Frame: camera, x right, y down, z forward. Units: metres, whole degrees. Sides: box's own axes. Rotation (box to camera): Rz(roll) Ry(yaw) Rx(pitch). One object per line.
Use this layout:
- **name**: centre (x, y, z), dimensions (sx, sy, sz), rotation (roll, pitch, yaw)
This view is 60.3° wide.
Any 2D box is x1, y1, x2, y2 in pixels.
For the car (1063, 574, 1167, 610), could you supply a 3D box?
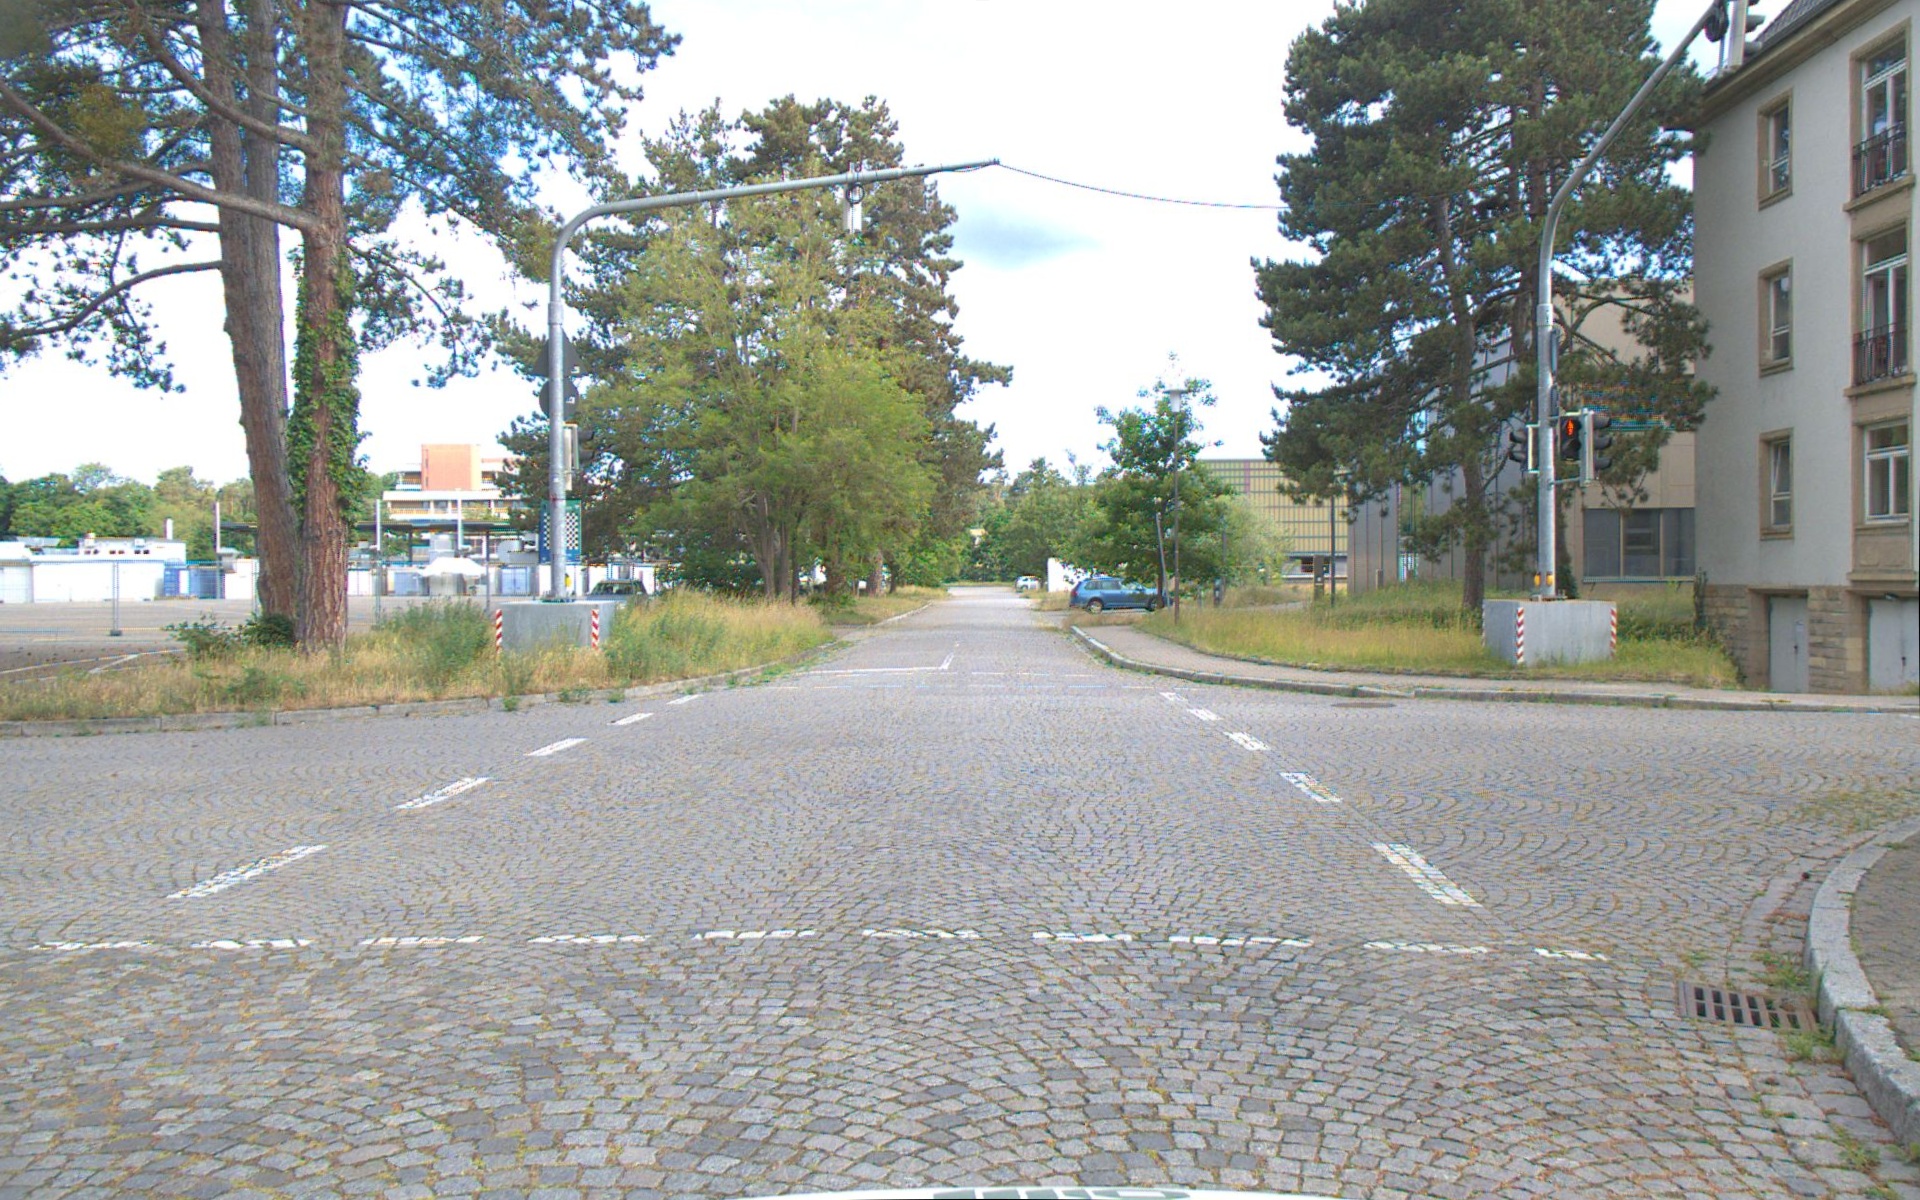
- **car**: centre (6.597, -0.354, 70.750), dimensions (4.256, 1.447, 2.000), rotation (-1, 1, -1)

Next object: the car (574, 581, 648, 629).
- **car**: centre (-11.786, 0.137, 56.126), dimensions (1.579, 1.513, 4.001), rotation (0, 1, 1)

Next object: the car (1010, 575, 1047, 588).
- **car**: centre (7.753, -2.139, 187.838), dimensions (3.909, 1.422, 1.998), rotation (-1, 1, -5)
